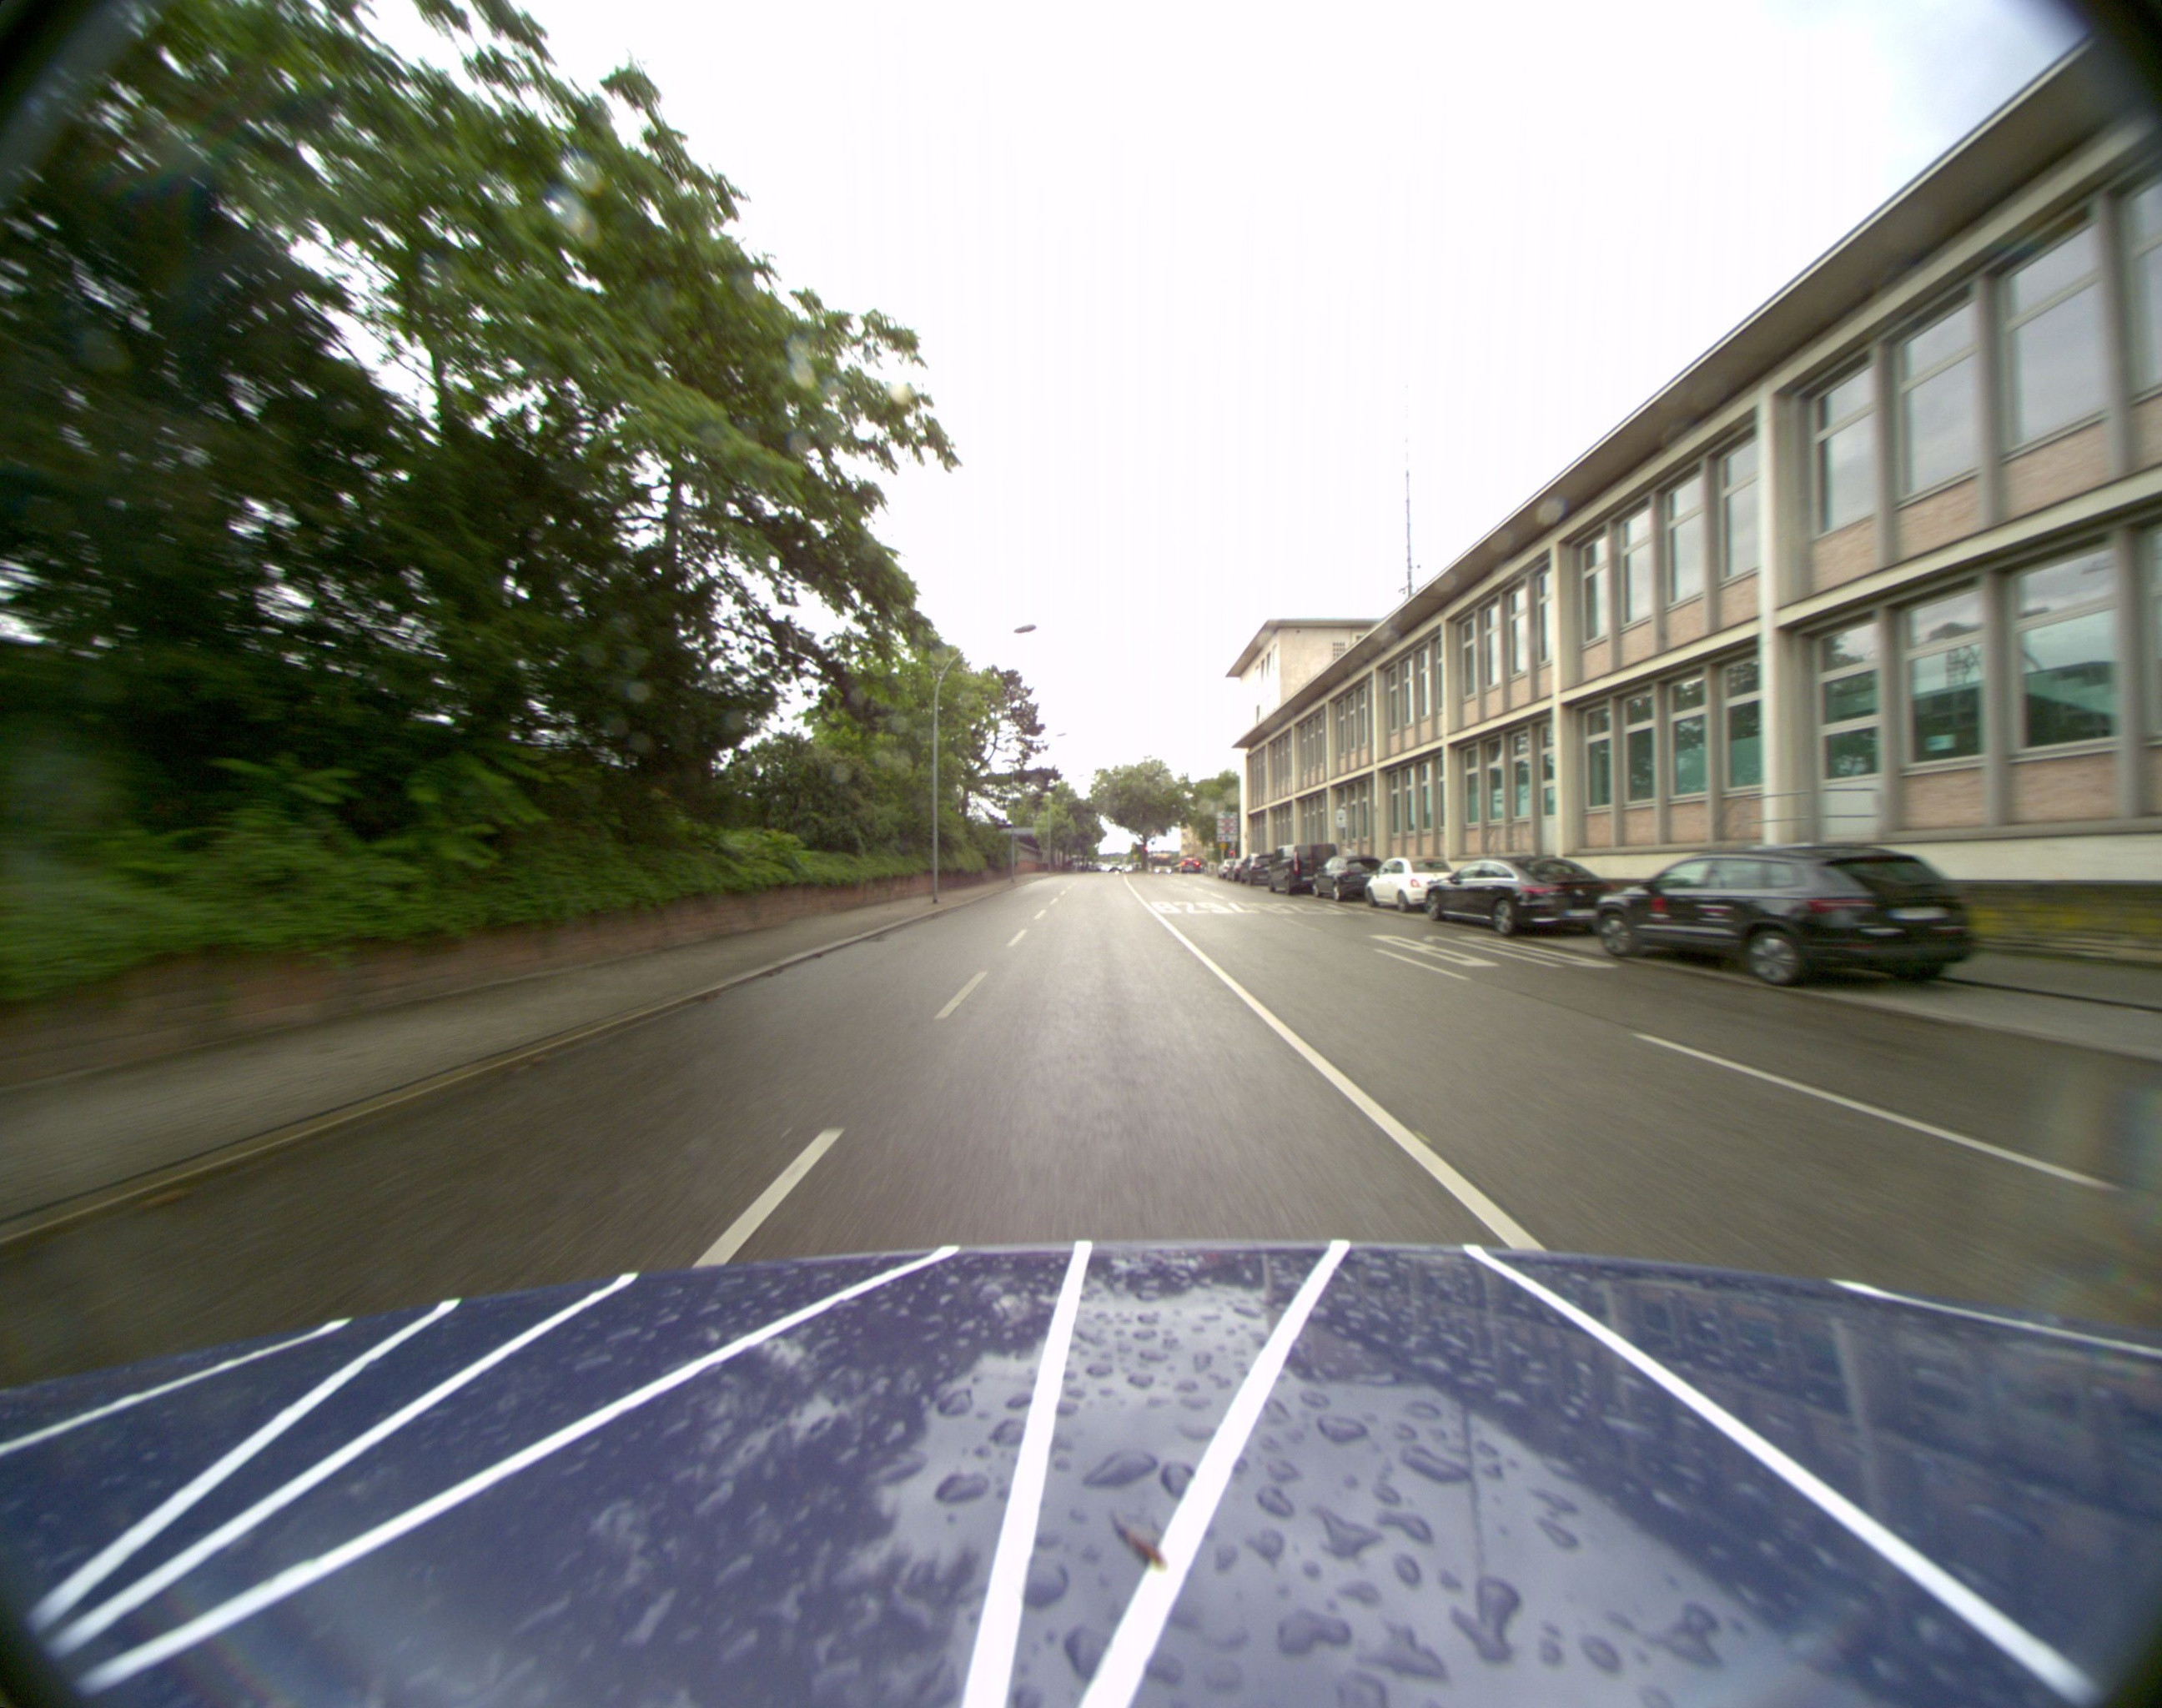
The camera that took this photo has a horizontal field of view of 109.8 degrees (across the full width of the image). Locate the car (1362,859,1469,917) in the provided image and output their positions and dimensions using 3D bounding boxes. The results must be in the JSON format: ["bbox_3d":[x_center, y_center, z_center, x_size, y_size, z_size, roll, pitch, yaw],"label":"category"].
[{"bbox_3d":[9.299,0.884,21.393,1.570,1.475,3.553,0,0,2],"label":"car"}]

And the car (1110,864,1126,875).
[{"bbox_3d":[4.972,2.038,100.914,1.871,1.465,3.828,1,-1,6],"label":"car"}]

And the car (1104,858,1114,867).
[{"bbox_3d":[4.642,1.394,126.200,1.619,1.477,3.670,-1,0,2],"label":"car"}]

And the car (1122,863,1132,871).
[{"bbox_3d":[9.033,2.524,148.684,1.983,1.438,3.910,2,-1,5],"label":"car"}]

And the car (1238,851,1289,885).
[{"bbox_3d":[9.625,0.708,40.363,1.801,1.666,4.604,-1,0,3],"label":"car"}]

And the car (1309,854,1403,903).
[{"bbox_3d":[9.440,0.791,26.426,1.865,1.543,4.313,0,0,2],"label":"car"}]

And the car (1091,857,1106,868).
[{"bbox_3d":[2.572,1.270,109.755,1.871,1.465,3.828,1,-1,6],"label":"car"}]

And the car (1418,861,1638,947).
[{"bbox_3d":[9.037,0.914,15.970,1.820,1.475,4.909,-1,0,1],"label":"car"}]

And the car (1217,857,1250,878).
[{"bbox_3d":[10.271,0.899,51.266,1.695,1.290,4.094,-1,0,4],"label":"car"}]

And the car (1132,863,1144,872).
[{"bbox_3d":[9.482,2.182,126.347,1.983,1.438,3.910,2,-1,5],"label":"car"}]

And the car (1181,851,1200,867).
[{"bbox_3d":[11.494,0.518,79.964,1.825,1.651,4.339,0,0,7],"label":"car"}]

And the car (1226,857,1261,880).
[{"bbox_3d":[9.740,0.842,45.809,1.546,1.345,4.111,-1,0,4],"label":"car"}]

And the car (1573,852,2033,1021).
[{"bbox_3d":[8.988,0.858,10.165,1.846,1.644,4.515,-2,1,0],"label":"car"}]

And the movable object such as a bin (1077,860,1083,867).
[{"bbox_3d":[-0.191,1.854,151.773,1.036,1.330,1.318,1,-1,2],"label":"movable object such as a bin"}]

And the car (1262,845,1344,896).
[{"bbox_3d":[9.104,0.621,31.591,1.954,1.932,4.996,-1,0,0],"label":"car"}]
